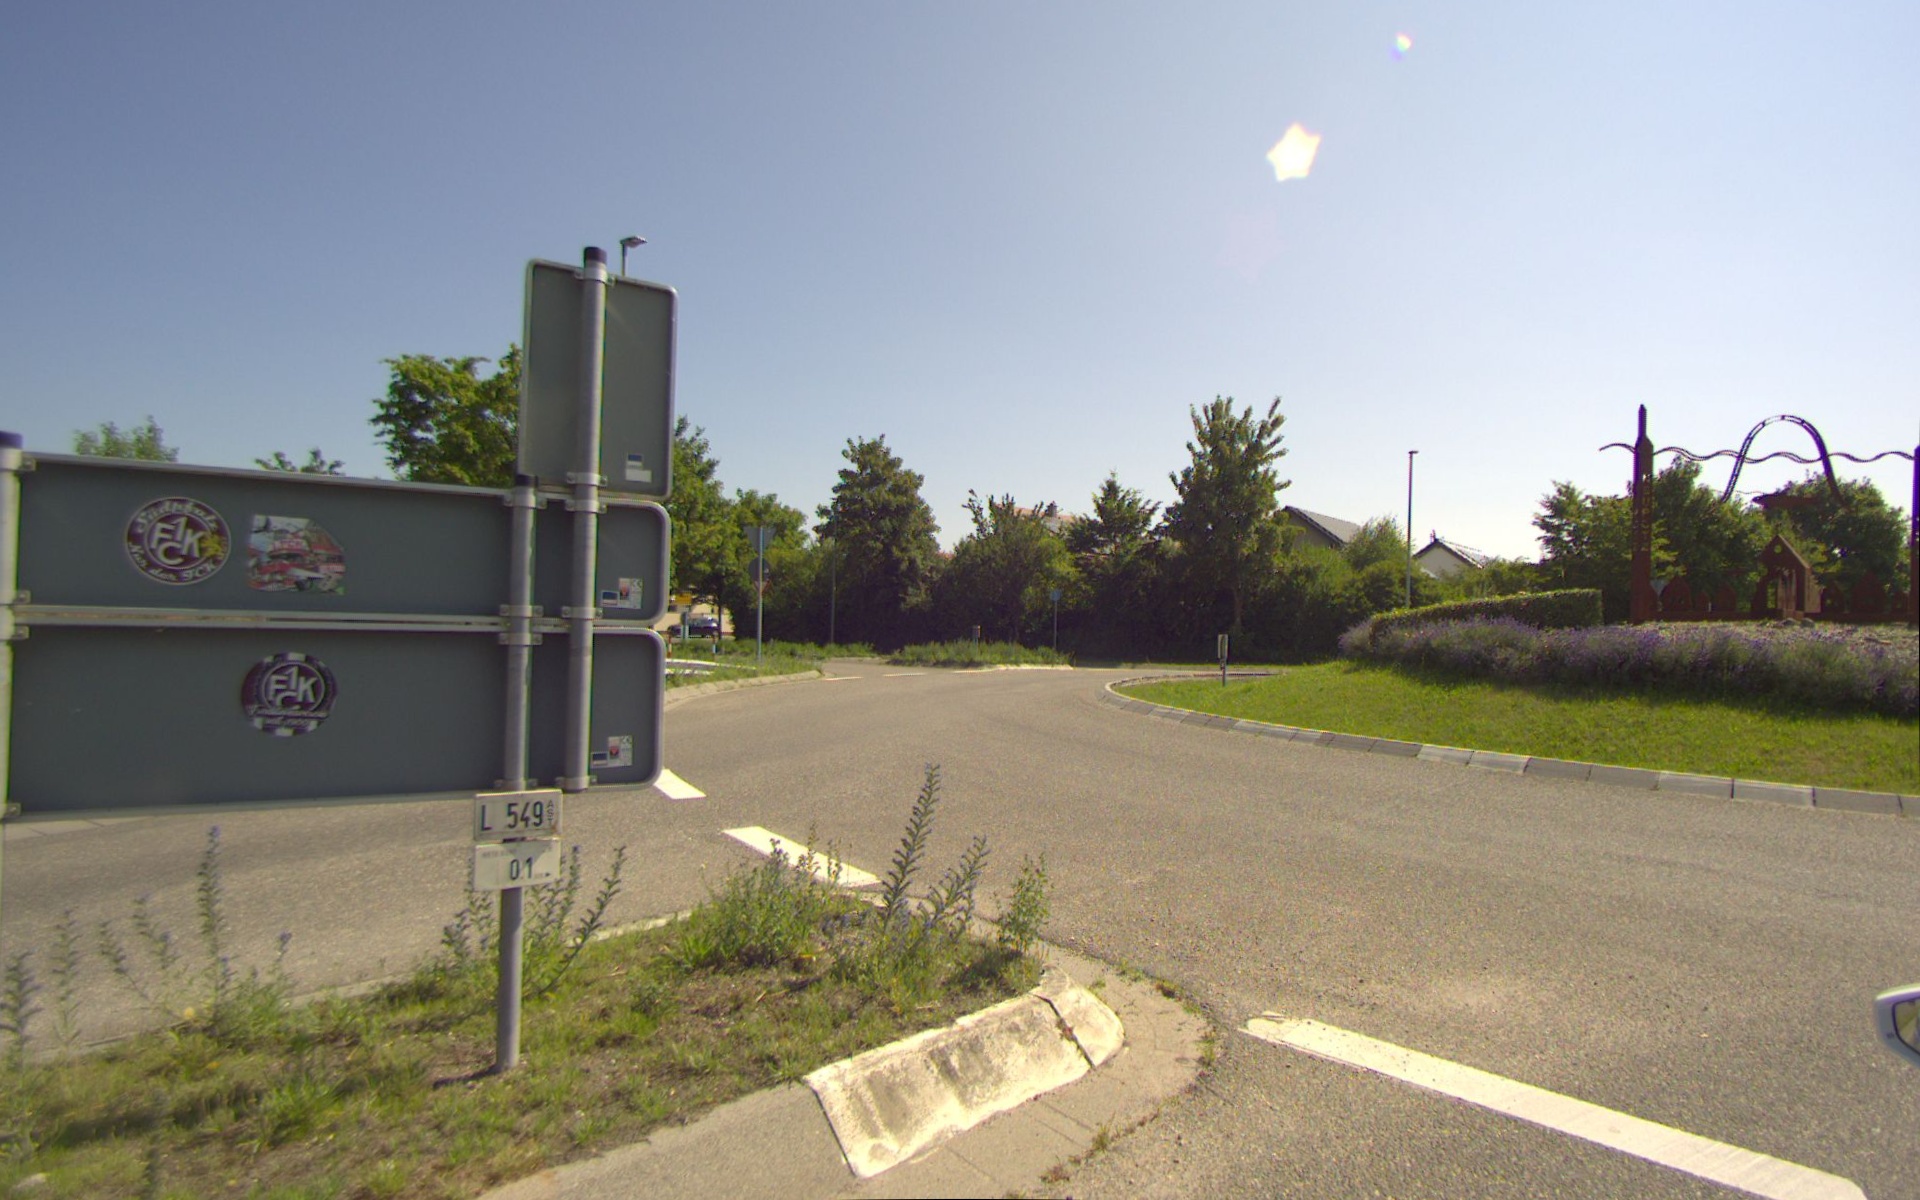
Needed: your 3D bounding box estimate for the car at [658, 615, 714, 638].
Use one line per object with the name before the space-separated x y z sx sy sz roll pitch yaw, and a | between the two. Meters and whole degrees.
car | -20.038 1.948 73.614 1.586 1.523 3.713 2 -1 40
